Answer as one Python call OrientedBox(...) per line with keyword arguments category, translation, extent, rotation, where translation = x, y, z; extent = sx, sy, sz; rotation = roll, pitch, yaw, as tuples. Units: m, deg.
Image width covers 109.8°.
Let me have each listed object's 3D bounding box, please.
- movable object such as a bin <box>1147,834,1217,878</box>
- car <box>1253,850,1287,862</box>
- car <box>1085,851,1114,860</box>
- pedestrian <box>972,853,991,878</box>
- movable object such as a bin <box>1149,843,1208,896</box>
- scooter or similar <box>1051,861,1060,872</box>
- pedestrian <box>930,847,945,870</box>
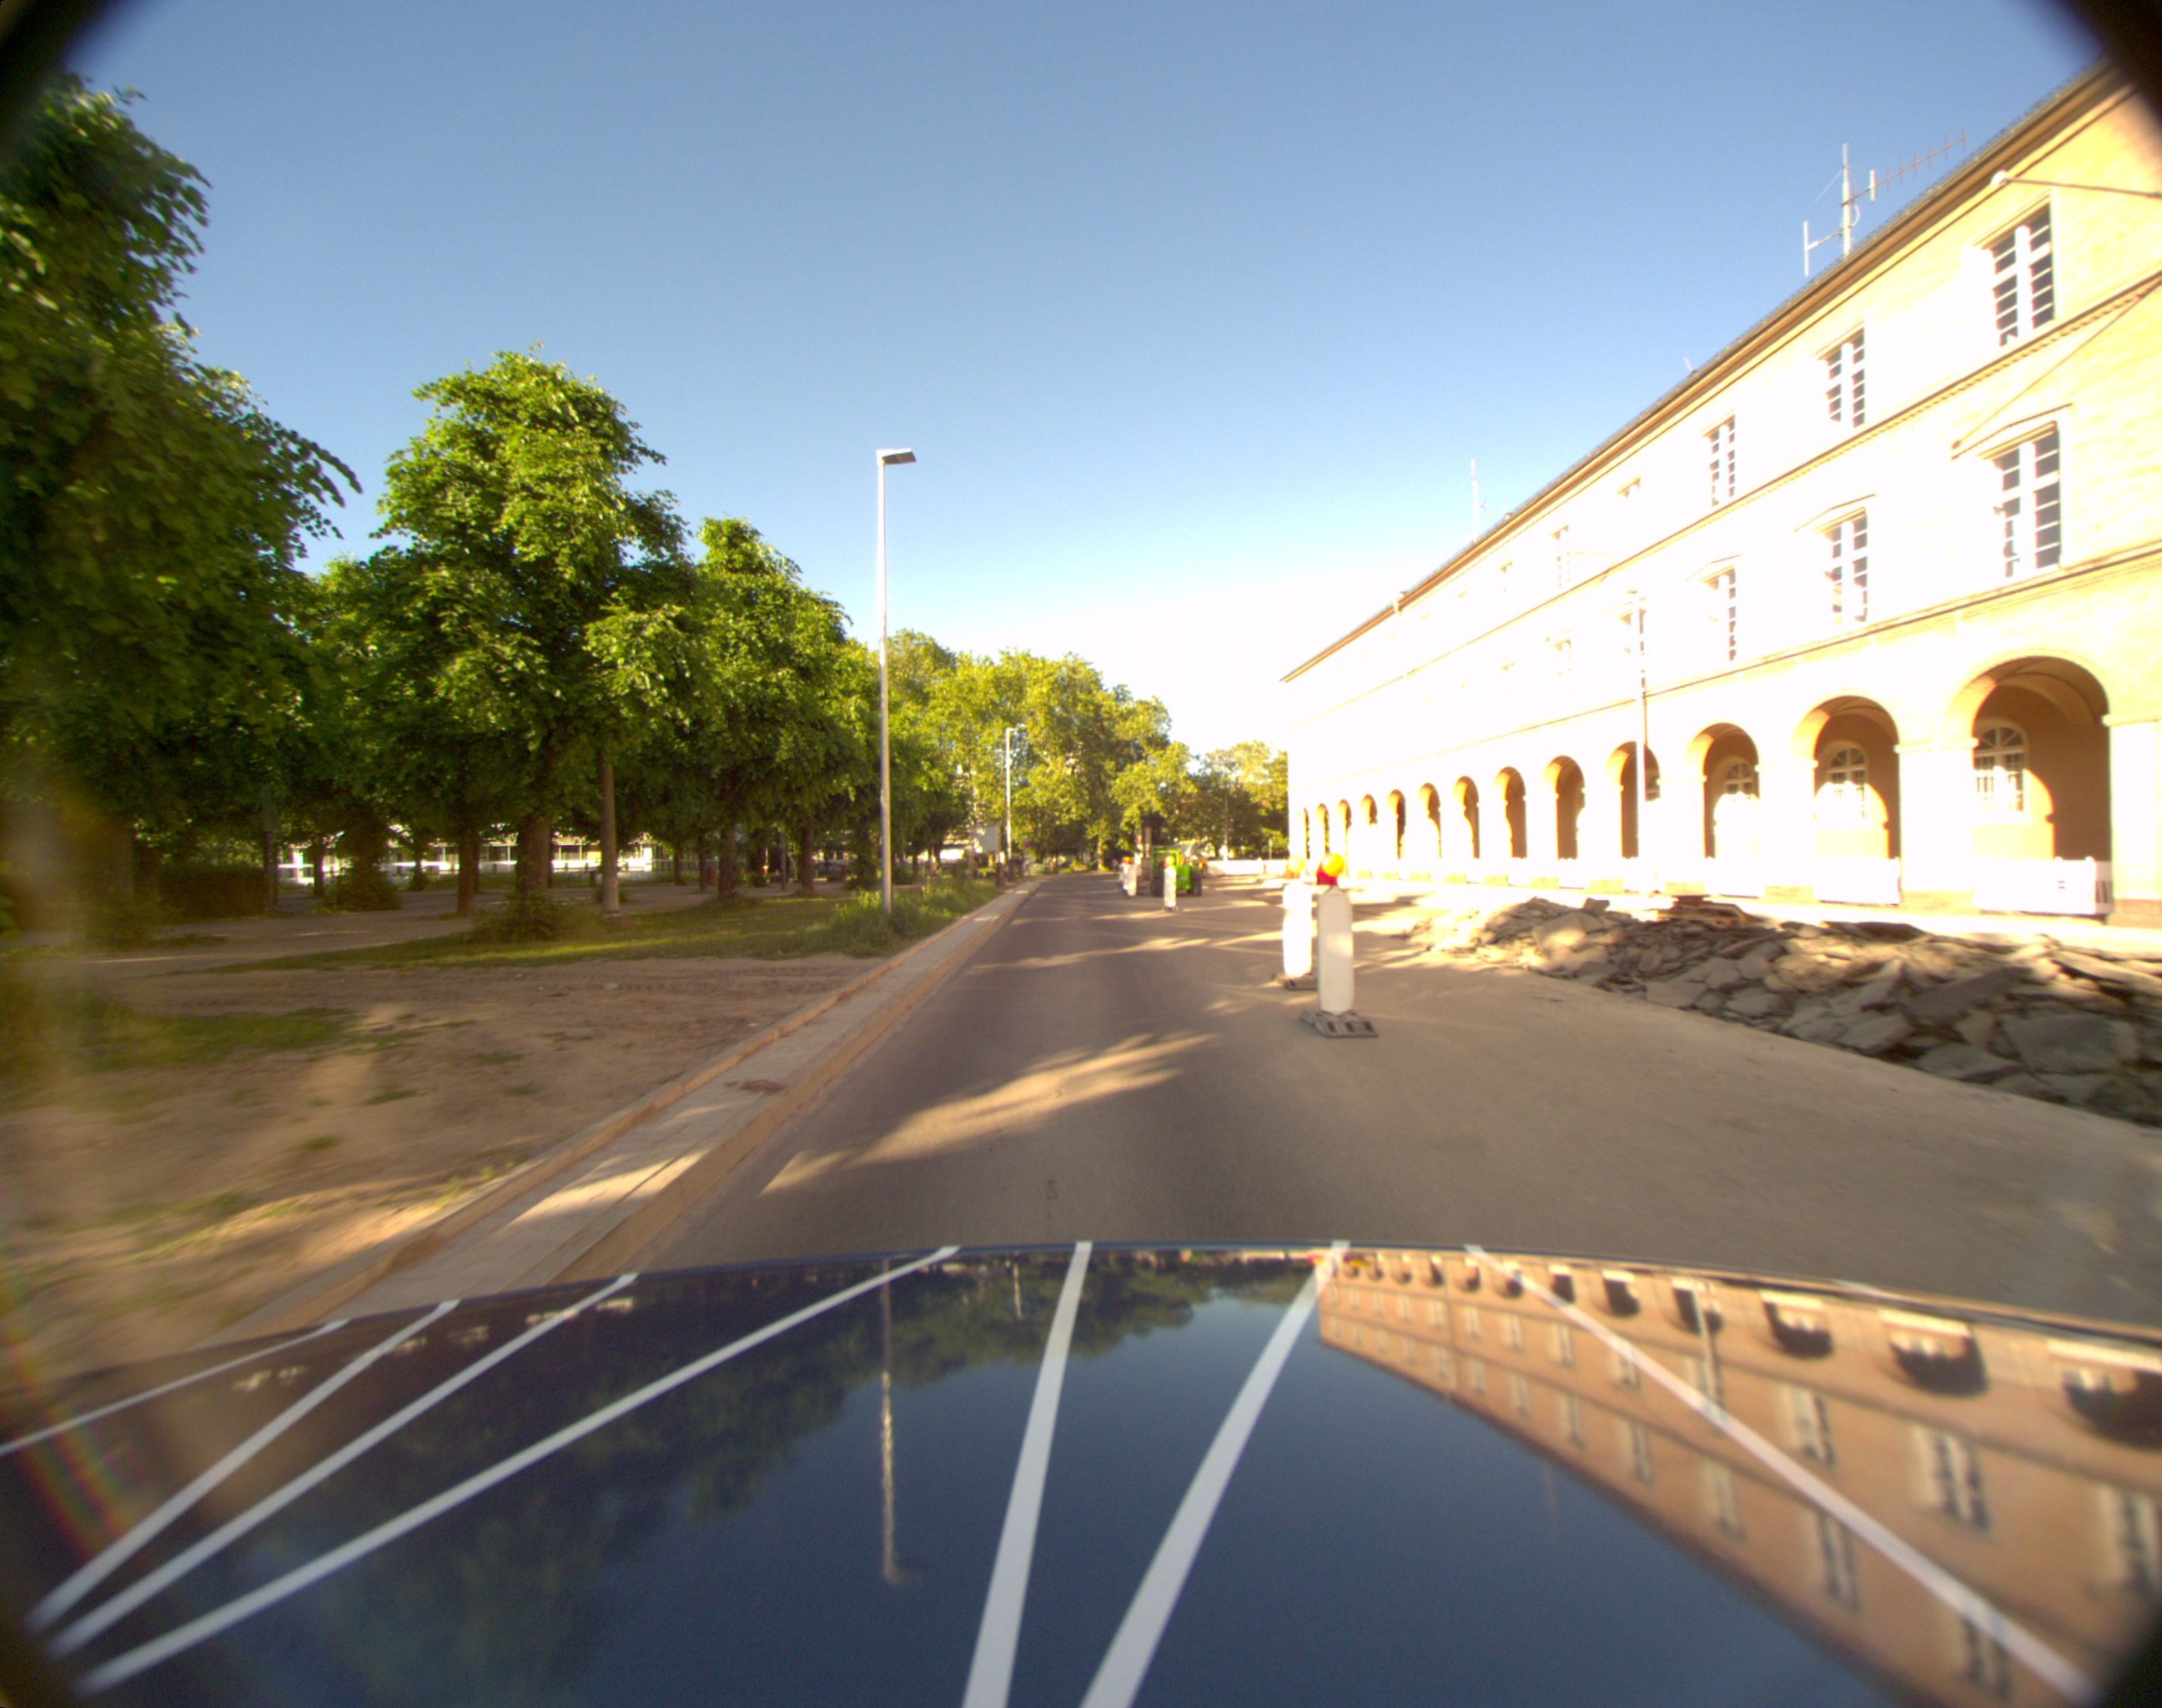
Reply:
OrientedBox(category="movable object such as a bin", translation=(7.409, 0.111, 55.110), extent=(2.559, 3.014, 5.943), rotation=(0, 1, 34))
OrientedBox(category="car", translation=(25.144, 0.262, 101.113), extent=(4.000, 1.616, 1.552), rotation=(0, -1, -9))
OrientedBox(category="car", translation=(3.193, 0.328, 131.660), extent=(4.657, 1.466, 2.013), rotation=(0, -1, -9))
OrientedBox(category="pedestrian", translation=(-6.499, 0.727, 49.549), extent=(0.941, 1.614, 0.708), rotation=(-2, 1, -41))
OrientedBox(category="movable object such as a bin", translation=(3.826, 0.620, 30.511), extent=(2.054, 1.937, 4.336), rotation=(-1, -1, 4))
OrientedBox(category="scooter or similar", translation=(-2.139, 1.036, 63.787), extent=(0.420, 0.909, 1.148), rotation=(-2, 2, -17))
OrientedBox(category="pedestrian", translation=(-11.479, 0.375, 60.815), extent=(1.134, 1.801, 0.747), rotation=(-1, -1, -13))
